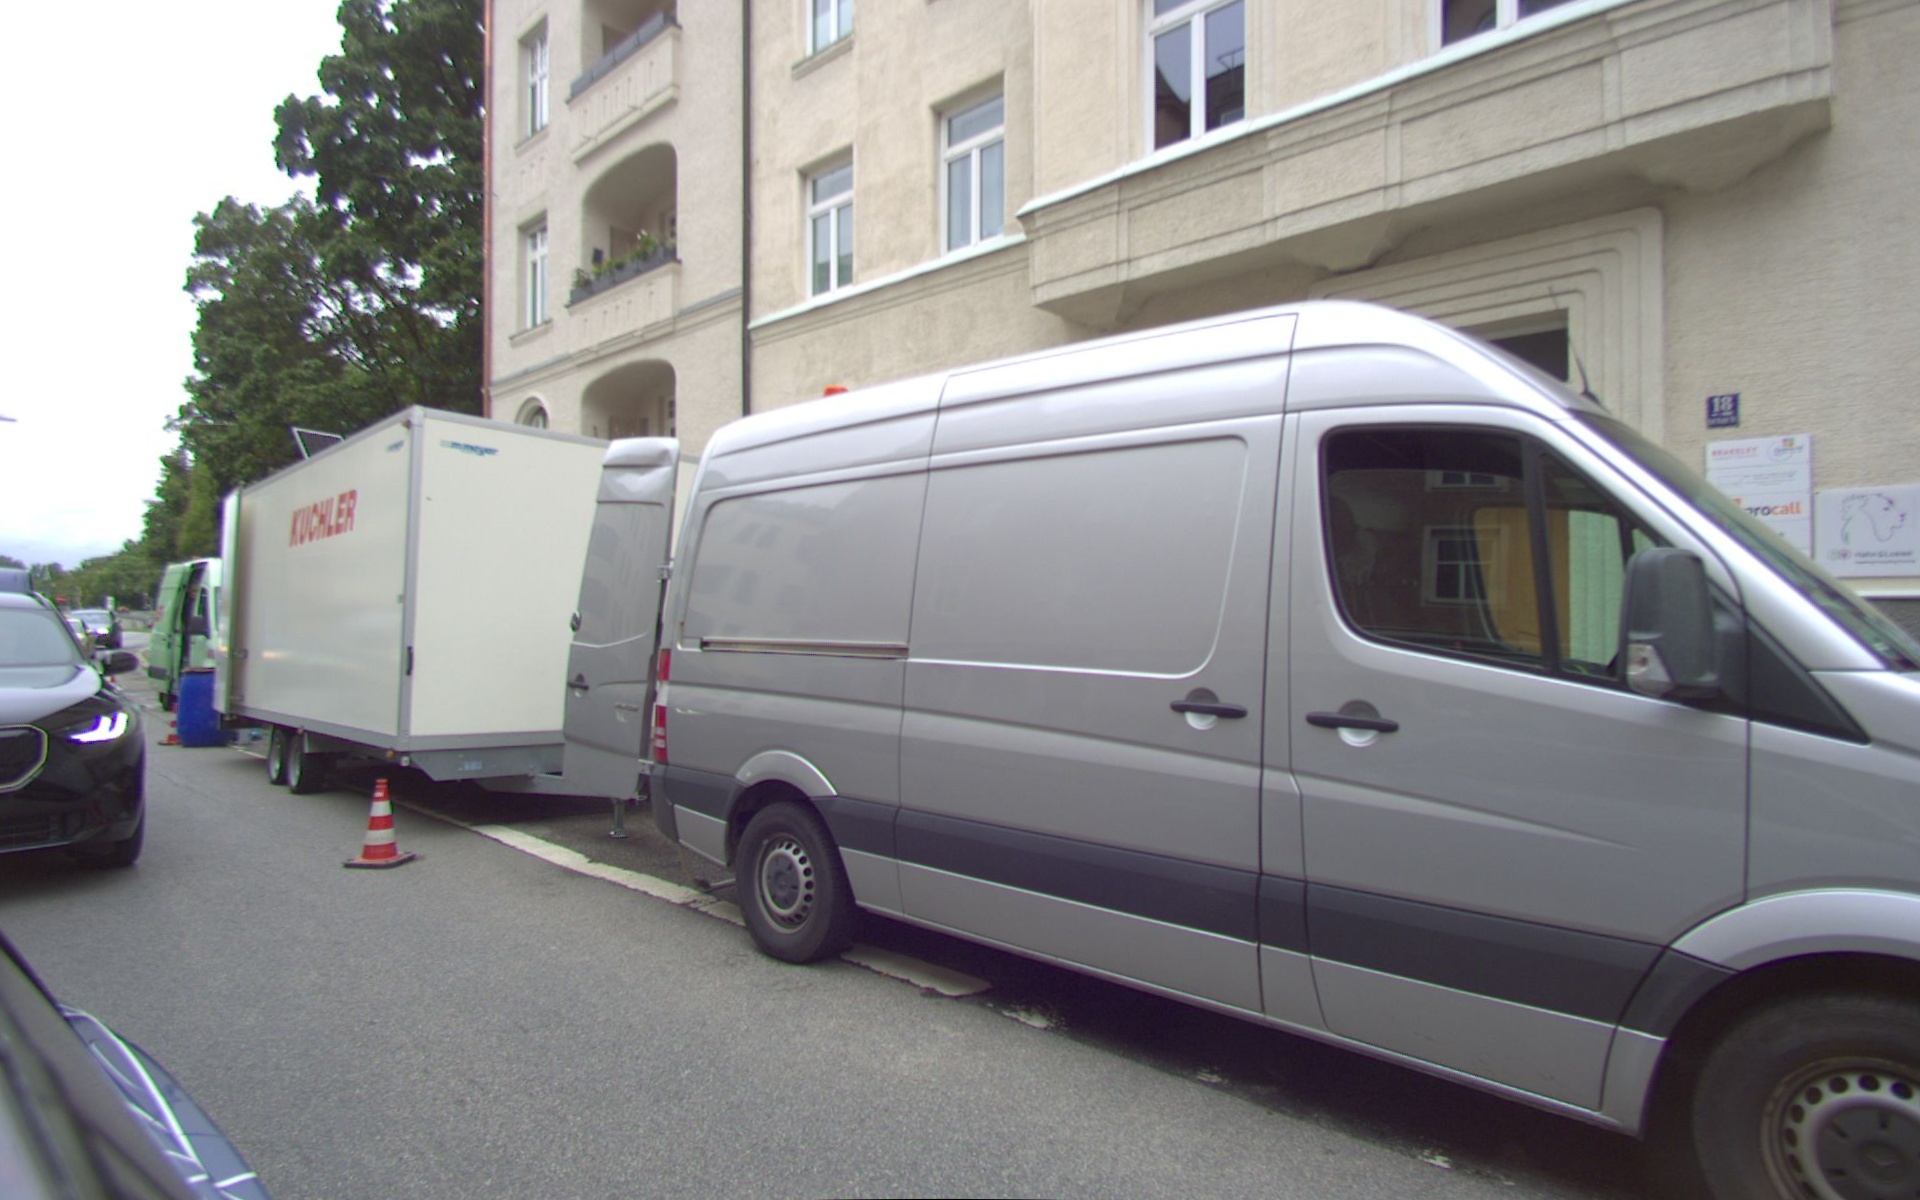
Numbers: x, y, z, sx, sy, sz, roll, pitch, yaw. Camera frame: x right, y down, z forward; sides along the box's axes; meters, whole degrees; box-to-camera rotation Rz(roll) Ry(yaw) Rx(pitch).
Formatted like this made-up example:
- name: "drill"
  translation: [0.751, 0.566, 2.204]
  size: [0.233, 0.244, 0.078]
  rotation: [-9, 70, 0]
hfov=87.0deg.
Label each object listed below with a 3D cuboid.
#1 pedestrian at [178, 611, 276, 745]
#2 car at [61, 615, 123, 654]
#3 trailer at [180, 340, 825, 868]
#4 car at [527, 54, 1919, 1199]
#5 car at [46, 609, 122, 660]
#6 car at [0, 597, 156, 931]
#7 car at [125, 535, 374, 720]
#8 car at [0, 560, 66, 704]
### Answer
- name: "pedestrian"
  translation: [-9.122, 0.945, 12.610]
  size: [0.633, 1.592, 0.757]
  rotation: [0, -2, 25]
- name: "car"
  translation: [-36.828, 1.446, 42.905]
  size: [1.791, 1.474, 4.169]
  rotation: [7, -5, -42]
- name: "trailer"
  translation: [-4.740, 0.205, 9.380]
  size: [7.602, 2.992, 2.772]
  rotation: [-2, -6, 45]
- name: "car"
  translation: [0.801, 0.318, 4.321]
  size: [6.875, 2.607, 2.034]
  rotation: [-1, -6, 42]
- name: "car"
  translation: [-30.688, 1.192, 35.513]
  size: [1.790, 1.601, 4.171]
  rotation: [7, -5, -40]
- name: "car"
  translation: [-6.226, 0.776, 6.172]
  size: [1.892, 1.577, 4.301]
  rotation: [2, -2, -40]
- name: "car"
  translation: [-12.325, 0.457, 17.290]
  size: [6.795, 2.592, 2.117]
  rotation: [-1, -2, 43]
- name: "car"
  translation: [-19.100, 0.555, 19.686]
  size: [1.974, 2.510, 6.247]
  rotation: [1, -1, -36]
